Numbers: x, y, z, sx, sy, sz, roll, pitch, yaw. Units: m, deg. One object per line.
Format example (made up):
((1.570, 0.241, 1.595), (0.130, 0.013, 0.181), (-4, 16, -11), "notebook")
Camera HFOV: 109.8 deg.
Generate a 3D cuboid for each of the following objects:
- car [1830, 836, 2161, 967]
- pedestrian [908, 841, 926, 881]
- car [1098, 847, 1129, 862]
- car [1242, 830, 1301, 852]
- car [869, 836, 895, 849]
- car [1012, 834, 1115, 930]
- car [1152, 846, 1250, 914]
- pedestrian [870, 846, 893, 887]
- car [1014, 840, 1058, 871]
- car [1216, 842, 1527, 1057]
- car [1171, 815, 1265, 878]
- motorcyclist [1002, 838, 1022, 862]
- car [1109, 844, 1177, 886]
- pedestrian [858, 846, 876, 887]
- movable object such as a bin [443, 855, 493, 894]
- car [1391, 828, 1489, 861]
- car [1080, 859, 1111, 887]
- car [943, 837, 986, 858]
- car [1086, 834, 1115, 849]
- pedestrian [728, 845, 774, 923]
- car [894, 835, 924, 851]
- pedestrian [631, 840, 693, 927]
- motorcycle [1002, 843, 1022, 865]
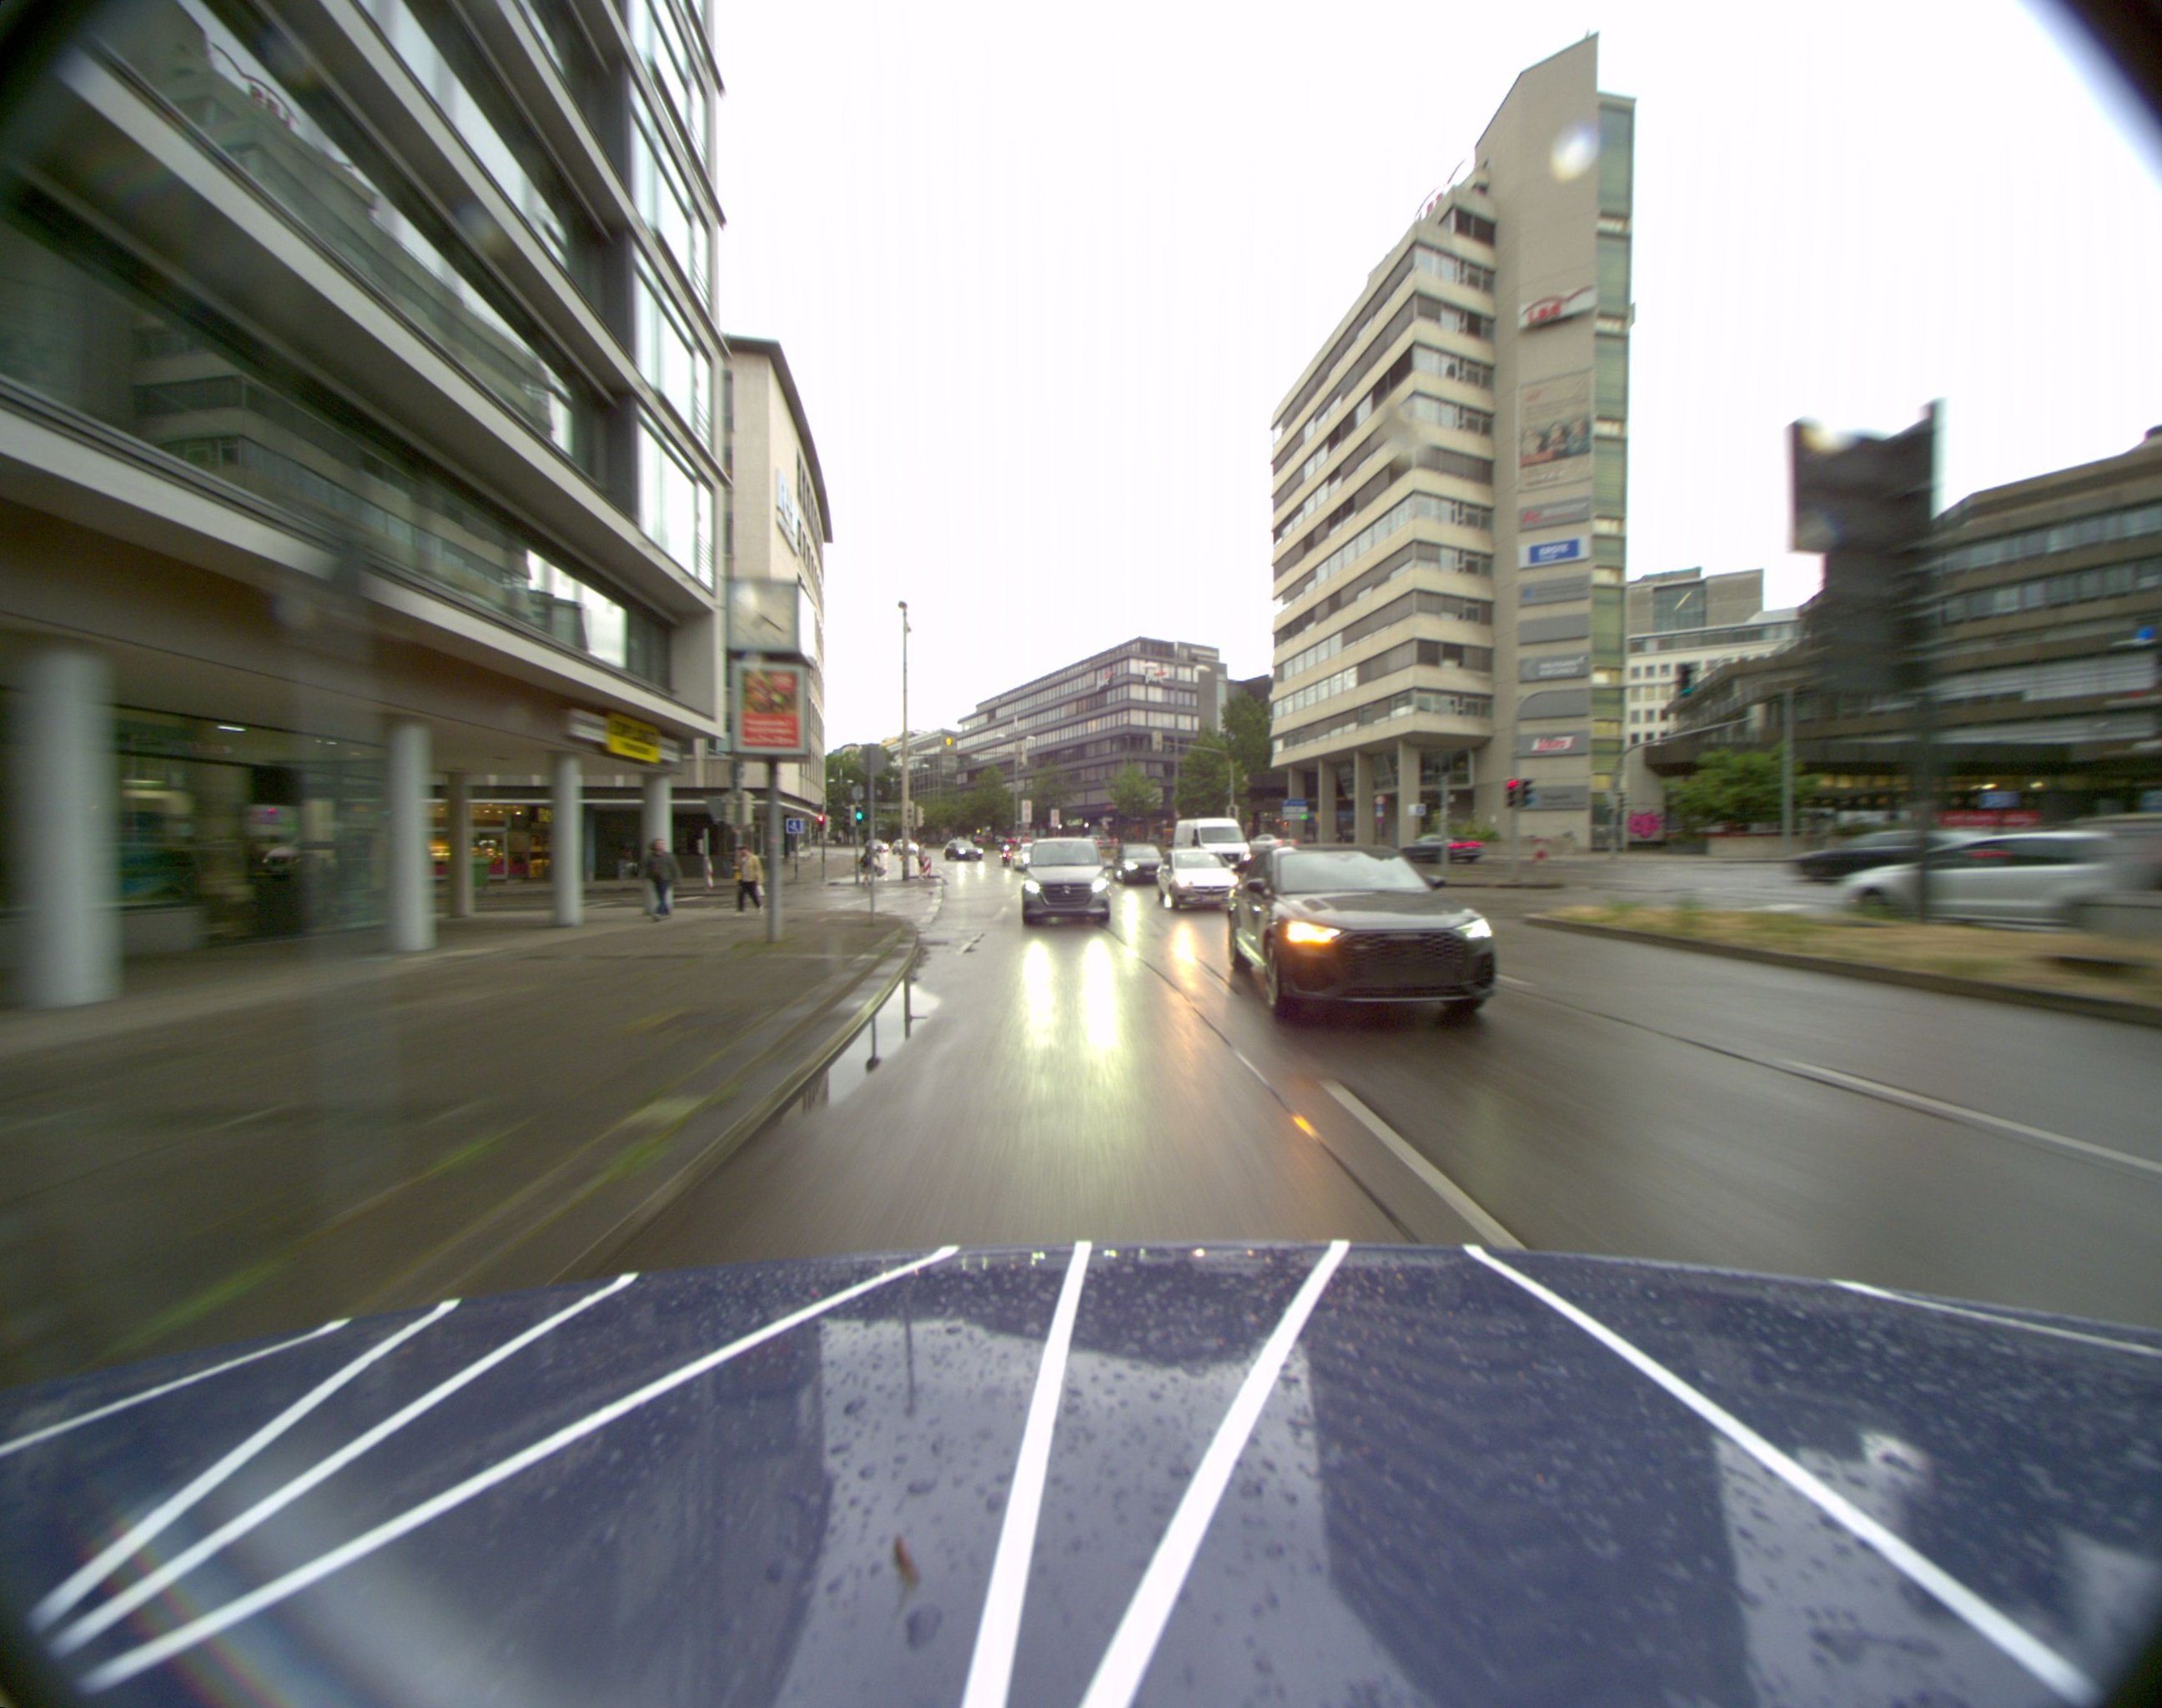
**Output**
((13.411, 0.513, 10.662), (1.756, 1.456, 3.969), (-2, 2, -4), "car")
((-7.182, 0.282, 33.184), (0.654, 1.716, 0.815), (-2, 3, -16), "pedestrian")
((3.535, 0.015, 83.926), (1.756, 1.508, 4.053), (-3, 2, -25), "car")
((14.157, -0.978, 56.866), (1.790, 1.509, 5.243), (-2, 2, -17), "car")
((-22.580, -1.316, 86.112), (1.895, 1.478, 3.990), (-3, 2, -28), "car")
((-0.289, 0.503, 18.087), (2.059, 1.882, 5.047), (-2, 2, 2), "car")
((3.050, 0.595, 20.119), (1.774, 1.471, 4.125), (-2, 2, -2), "car")
((-8.001, 0.484, 30.535), (0.654, 1.589, 1.058), (-2, 2, -5), "pedestrian")
((-2.459, 0.027, 40.699), (1.691, 1.478, 3.994), (-2, 2, -12), "car")
((2.624, 0.714, 8.034), (1.801, 1.543, 4.387), (-1, 2, 3), "car")
((5.694, -0.371, 32.443), (2.261, 2.372, 5.713), (-2, 2, -8), "car")
((-4.386, -0.271, 48.199), (1.152, 1.502, 1.196), (-2, 2, -6), "motorcyclist")
((2.335, 0.362, 29.649), (1.905, 1.394, 4.238), (-2, 2, -5), "car")
((-8.602, 0.488, 30.561), (0.527, 1.589, 0.730), (-2, 2, -5), "pedestrian")
((-25.839, 0.846, 32.047), (0.987, 1.503, 1.392), (-2, 2, -7), "movable object such as a bin")
((18.920, -0.556, 40.368), (2.000, 1.576, 5.163), (-2, 2, -11), "car")
((0.949, 1.143, 47.464), (1.784, 1.500, 3.999), (-1, 2, 4), "car")
((-8.862, -0.527, 57.684), (1.895, 1.478, 3.990), (-3, 2, -29), "car")
((2.078, -1.354, 80.496), (1.744, 1.456, 3.992), (-2, 2, -19), "car")
((-7.747, 0.678, 17.859), (0.641, 1.772, 0.880), (-2, 1, 0), "pedestrian")
((-16.965, -1.094, 74.912), (1.895, 1.478, 3.990), (-3, 2, -28), "car")
((-8.916, 0.615, 16.207), (0.793, 1.772, 0.894), (-2, 1, -3), "pedestrian")
((-4.389, 0.001, 48.452), (1.130, 1.260, 3.371), (-2, 2, -5), "motorcycle")
